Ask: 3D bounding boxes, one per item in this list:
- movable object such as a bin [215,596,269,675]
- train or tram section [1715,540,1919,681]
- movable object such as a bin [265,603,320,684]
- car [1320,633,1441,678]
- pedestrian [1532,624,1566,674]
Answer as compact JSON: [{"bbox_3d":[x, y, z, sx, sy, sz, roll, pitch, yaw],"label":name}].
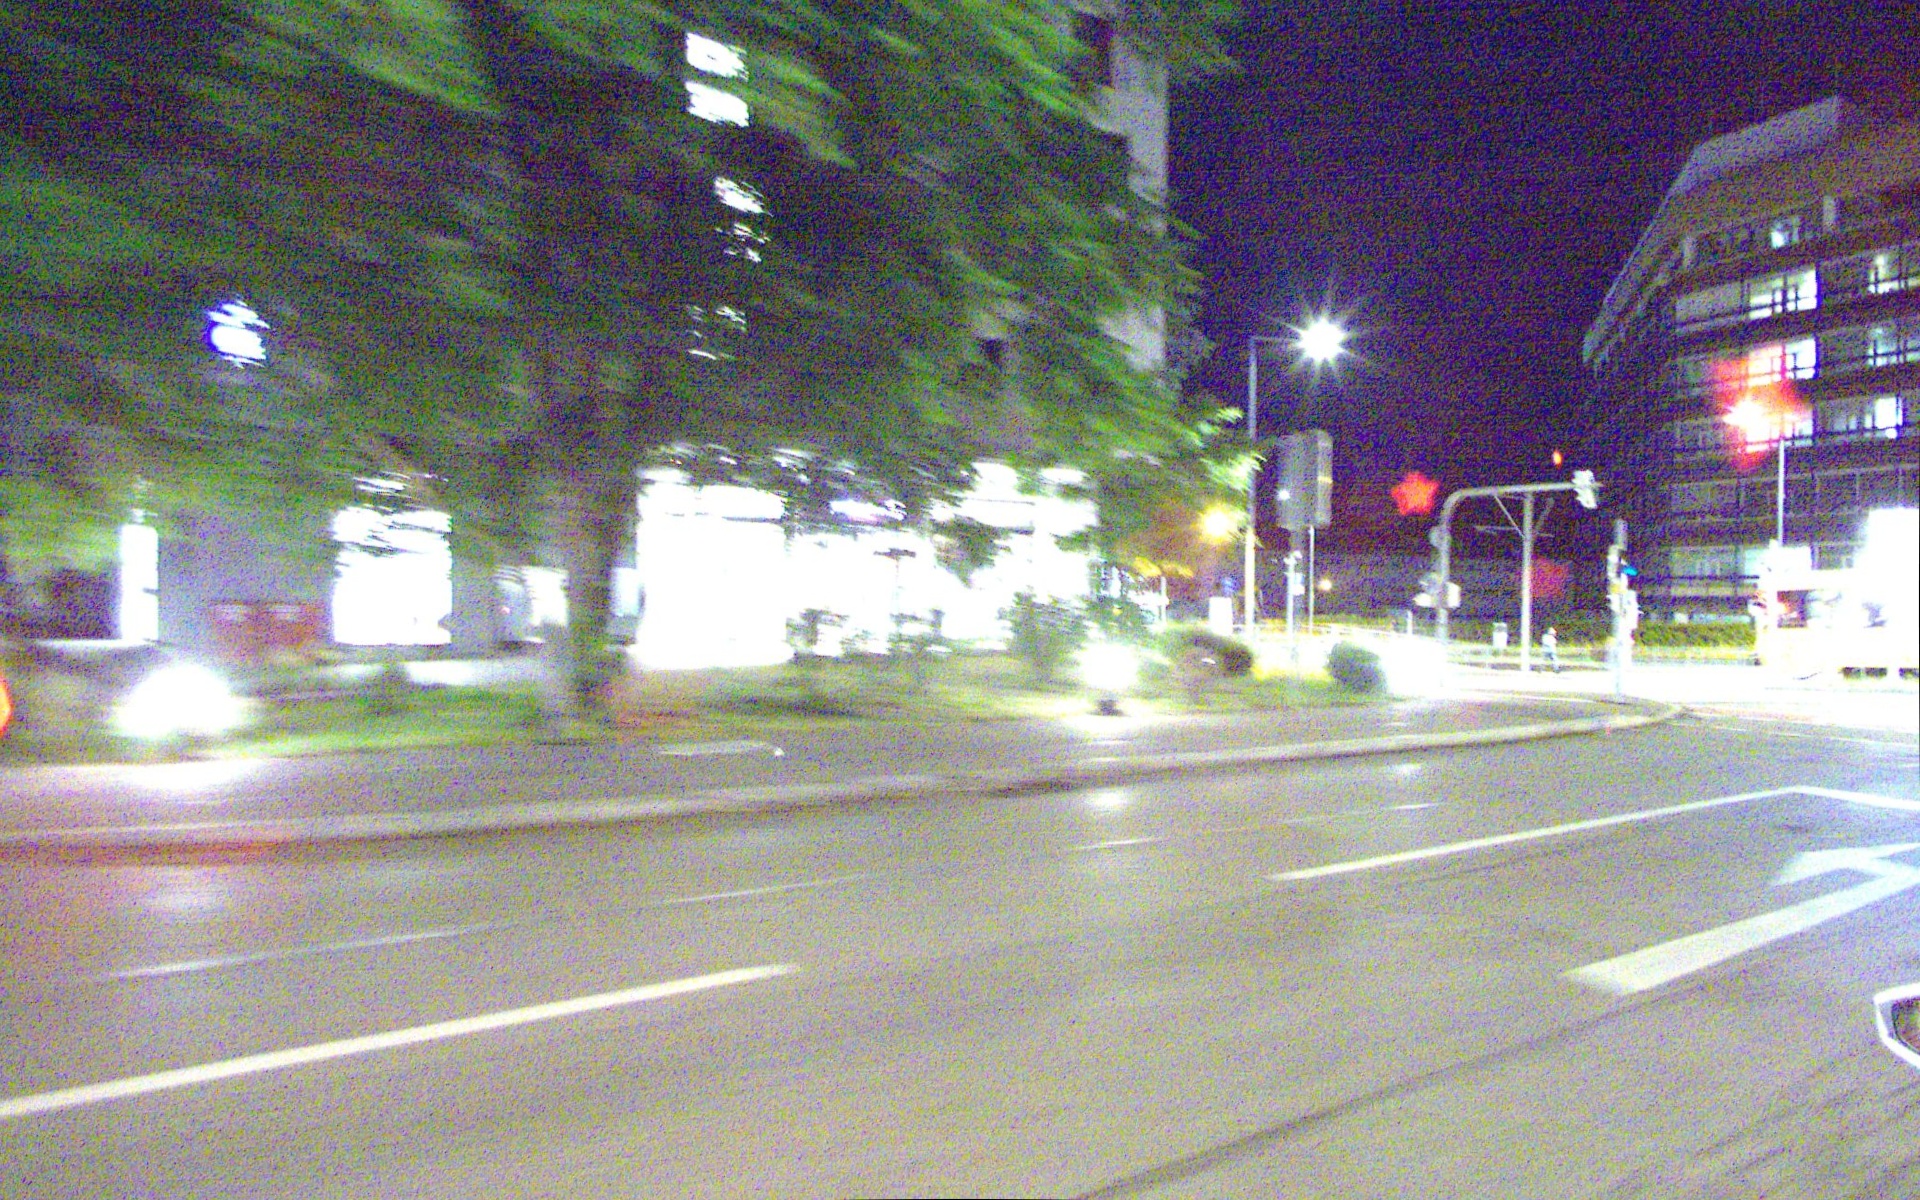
[{"bbox_3d":[-13.099,0.642,18.342,0.723,1.389,0.354,-2,0,-29],"label":"movable object such as a bin"},{"bbox_3d":[29.837,0.199,24.215,2.899,3.912,19.744,1,-2,-24],"label":"train or tram section"},{"bbox_3d":[-12.330,0.789,18.569,0.798,1.471,0.439,0,-1,-27],"label":"movable object such as a bin"},{"bbox_3d":[14.916,1.950,35.828,1.882,1.500,3.755,2,-2,-22],"label":"car"},{"bbox_3d":[21.105,1.753,35.996,0.651,1.760,0.761,0,-2,-29],"label":"pedestrian"}]
